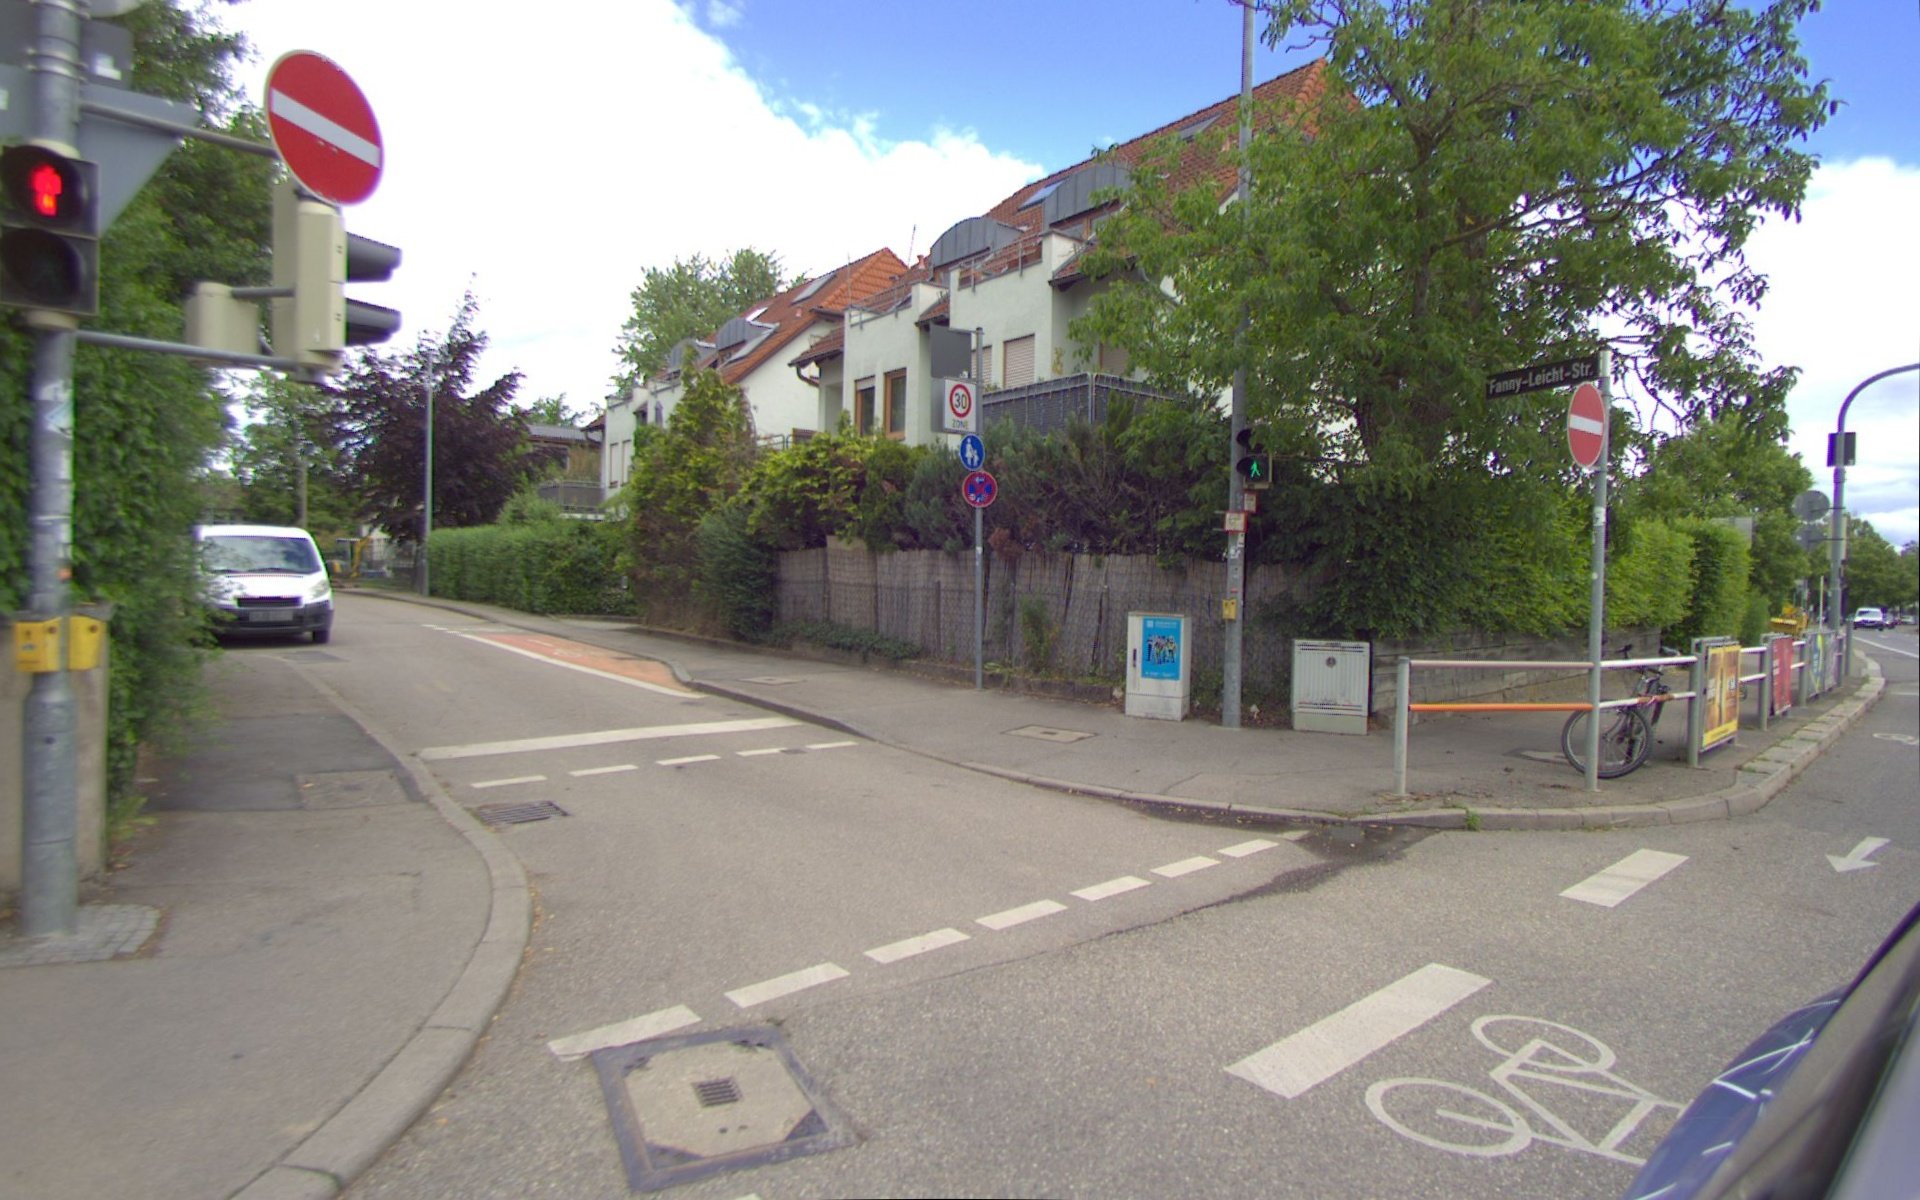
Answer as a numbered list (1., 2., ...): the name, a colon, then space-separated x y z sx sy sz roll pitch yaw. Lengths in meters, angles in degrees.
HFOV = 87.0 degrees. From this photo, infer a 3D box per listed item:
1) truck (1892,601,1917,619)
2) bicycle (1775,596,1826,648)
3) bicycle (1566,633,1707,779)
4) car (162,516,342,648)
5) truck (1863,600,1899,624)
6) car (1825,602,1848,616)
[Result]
1. truck: 92.048 0.945 98.610 1.616 1.679 3.935 3 2 45
2. bicycle: 26.863 0.686 32.328 0.892 1.528 2.738 7 5 44
3. bicycle: 5.588 0.820 8.331 1.478 1.041 0.629 0 0 -43
4. car: -12.195 -0.380 17.279 1.966 1.929 4.897 0 3 -42
5. truck: 73.687 0.982 80.938 3.930 1.812 1.614 1 2 -41
6. car: 92.572 0.932 106.861 1.559 1.367 3.483 4 2 44
